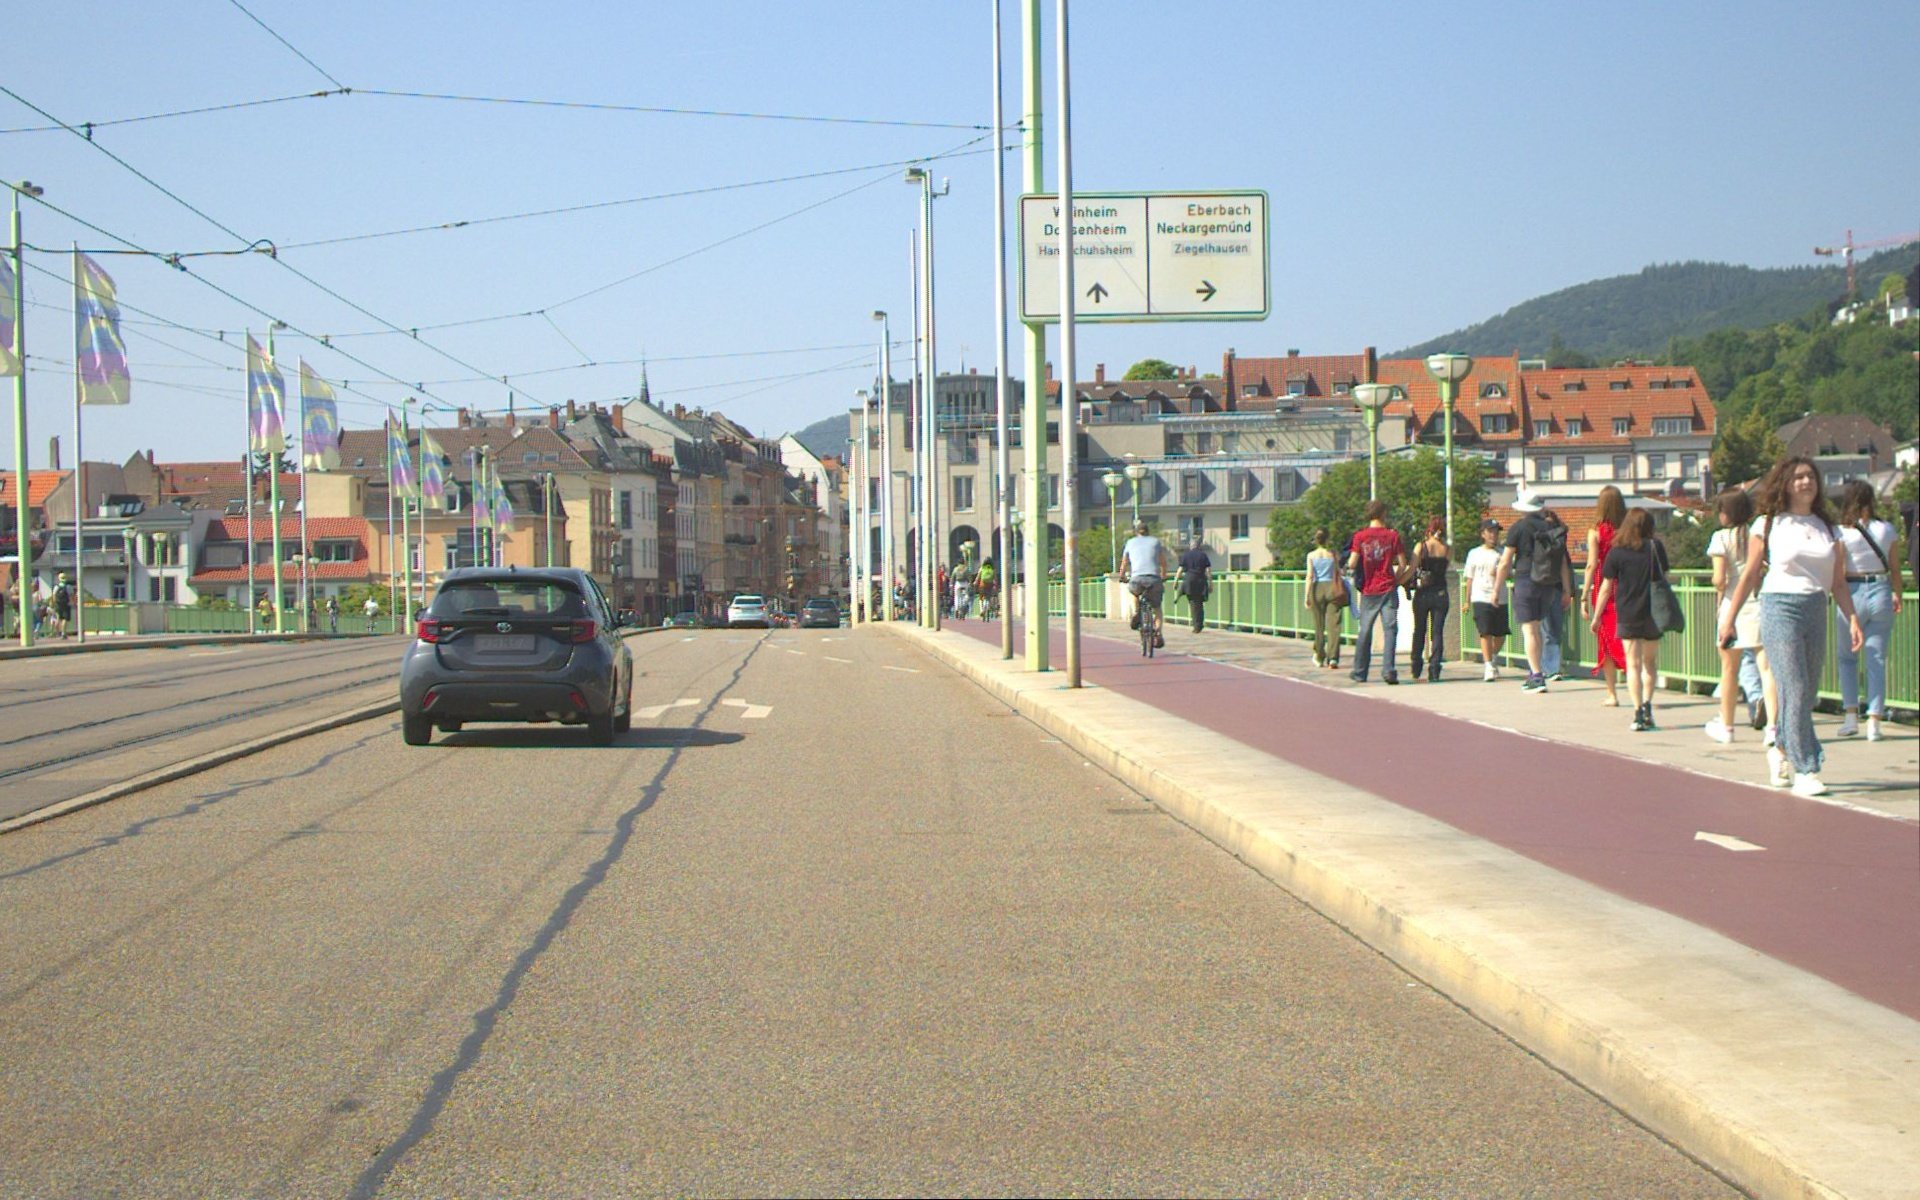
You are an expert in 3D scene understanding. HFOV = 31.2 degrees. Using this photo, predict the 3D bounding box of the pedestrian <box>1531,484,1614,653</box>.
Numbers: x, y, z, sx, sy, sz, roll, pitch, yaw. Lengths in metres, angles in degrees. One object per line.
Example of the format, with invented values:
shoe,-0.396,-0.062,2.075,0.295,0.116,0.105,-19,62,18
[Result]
pedestrian,5.945,-0.305,33.392,0.649,1.626,0.692,0,0,-2

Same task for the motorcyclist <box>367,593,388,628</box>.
motorcyclist,-26.482,0.474,156.335,0.800,1.544,1.069,-1,0,-3

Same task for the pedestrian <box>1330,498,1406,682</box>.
pedestrian,4.023,-0.100,33.891,0.585,1.787,0.632,-1,0,-7

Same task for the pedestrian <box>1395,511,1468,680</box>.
pedestrian,4.644,-0.041,33.887,0.522,1.644,0.700,-1,0,-8

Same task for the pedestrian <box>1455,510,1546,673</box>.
pedestrian,5.292,-0.085,33.684,0.649,1.557,0.692,-2,0,-9

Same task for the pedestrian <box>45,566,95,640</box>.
pedestrian,-24.421,0.070,94.350,1.097,2.007,1.295,-1,0,-5

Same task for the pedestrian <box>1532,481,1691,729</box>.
pedestrian,5.227,0.041,27.640,1.015,1.947,0.939,-1,0,-5

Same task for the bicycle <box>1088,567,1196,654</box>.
bicycle,2.401,0.129,45.937,0.792,1.092,3.745,-1,0,-7

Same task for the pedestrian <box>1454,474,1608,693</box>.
pedestrian,5.050,-0.143,30.468,0.984,1.888,1.254,-1,0,-8

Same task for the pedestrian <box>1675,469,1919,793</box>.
pedestrian,4.317,0.154,17.651,0.984,1.610,0.922,-1,0,-8

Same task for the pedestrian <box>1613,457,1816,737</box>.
pedestrian,4.831,-0.019,22.055,0.984,1.744,0.930,-1,0,-8

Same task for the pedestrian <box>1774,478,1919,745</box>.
pedestrian,5.791,0.071,22.024,0.833,1.671,0.886,-1,0,-8

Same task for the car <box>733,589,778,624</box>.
car,-9.099,0.313,152.542,1.803,1.464,4.000,-2,0,-5

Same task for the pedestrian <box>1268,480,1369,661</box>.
pedestrian,4.050,-0.326,38.912,0.873,2.007,1.059,-1,0,-8

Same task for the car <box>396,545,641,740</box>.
car,-3.742,0.329,29.710,1.910,1.535,4.001,1,0,-5

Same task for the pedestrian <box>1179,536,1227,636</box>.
pedestrian,4.292,-0.252,60.726,0.654,1.738,0.978,-1,1,-8

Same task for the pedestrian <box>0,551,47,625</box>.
pedestrian,-25.950,-0.337,95.200,1.097,2.007,1.129,-1,0,-5

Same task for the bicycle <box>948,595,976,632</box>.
bicycle,0.044,0.375,95.810,0.618,1.034,2.051,-1,0,-4

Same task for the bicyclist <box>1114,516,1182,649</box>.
bicyclist,2.498,-0.237,45.810,0.673,1.738,1.151,-1,0,-7

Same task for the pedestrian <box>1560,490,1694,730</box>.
pedestrian,4.677,0.070,24.131,0.654,1.644,0.868,-1,0,-8

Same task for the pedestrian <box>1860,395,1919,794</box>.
pedestrian,5.190,-0.031,17.577,0.803,2.007,0.954,-1,0,-8

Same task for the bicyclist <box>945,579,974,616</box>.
bicyclist,-0.015,-0.072,95.821,0.735,1.027,1.175,-1,0,-4

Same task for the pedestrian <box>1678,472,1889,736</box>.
pedestrian,5.702,0.021,23.872,0.984,1.763,1.254,-2,0,-8

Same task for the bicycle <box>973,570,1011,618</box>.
bicycle,0.812,-0.144,88.270,0.695,1.189,2.079,-1,-1,-7

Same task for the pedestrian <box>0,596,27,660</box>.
pedestrian,-26.410,0.785,94.551,1.097,1.723,1.295,-3,-1,0

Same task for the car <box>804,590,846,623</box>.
car,-6.450,0.313,164.347,1.804,1.464,4.000,-2,0,0
